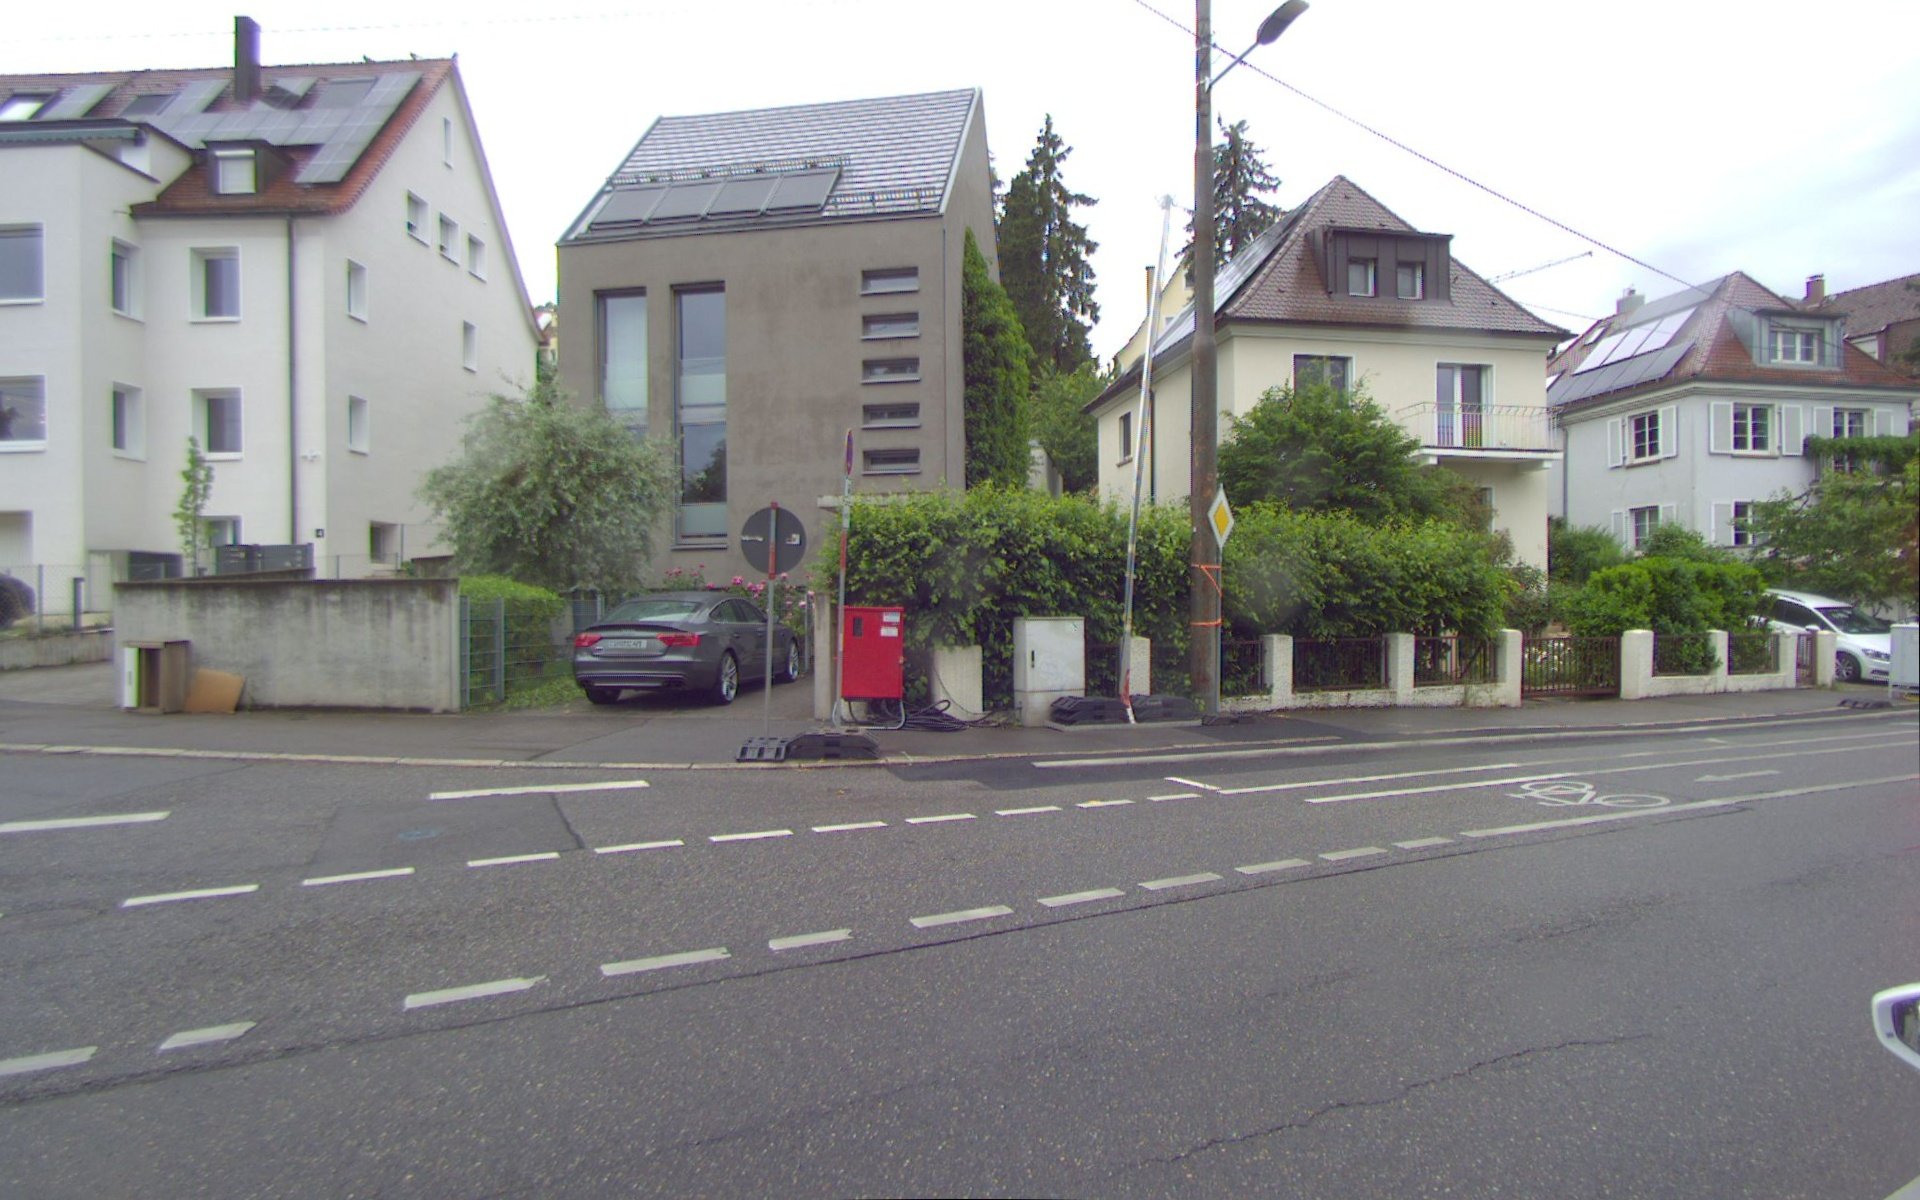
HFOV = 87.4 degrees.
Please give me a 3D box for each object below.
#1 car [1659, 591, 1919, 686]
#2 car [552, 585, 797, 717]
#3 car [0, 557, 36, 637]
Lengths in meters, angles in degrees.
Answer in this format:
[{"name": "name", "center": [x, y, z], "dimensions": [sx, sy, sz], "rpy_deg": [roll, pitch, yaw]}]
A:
[{"name": "car", "center": [19.580, 0.816, 23.910], "dimensions": [1.870, 2.033, 4.628], "rpy_deg": [1, 0, -18]}, {"name": "car", "center": [-3.626, 0.558, 13.576], "dimensions": [1.740, 1.506, 4.002], "rpy_deg": [0, 1, 7]}, {"name": "car", "center": [-16.749, 0.041, 15.170], "dimensions": [1.576, 1.298, 4.008], "rpy_deg": [2, 4, 6]}]
